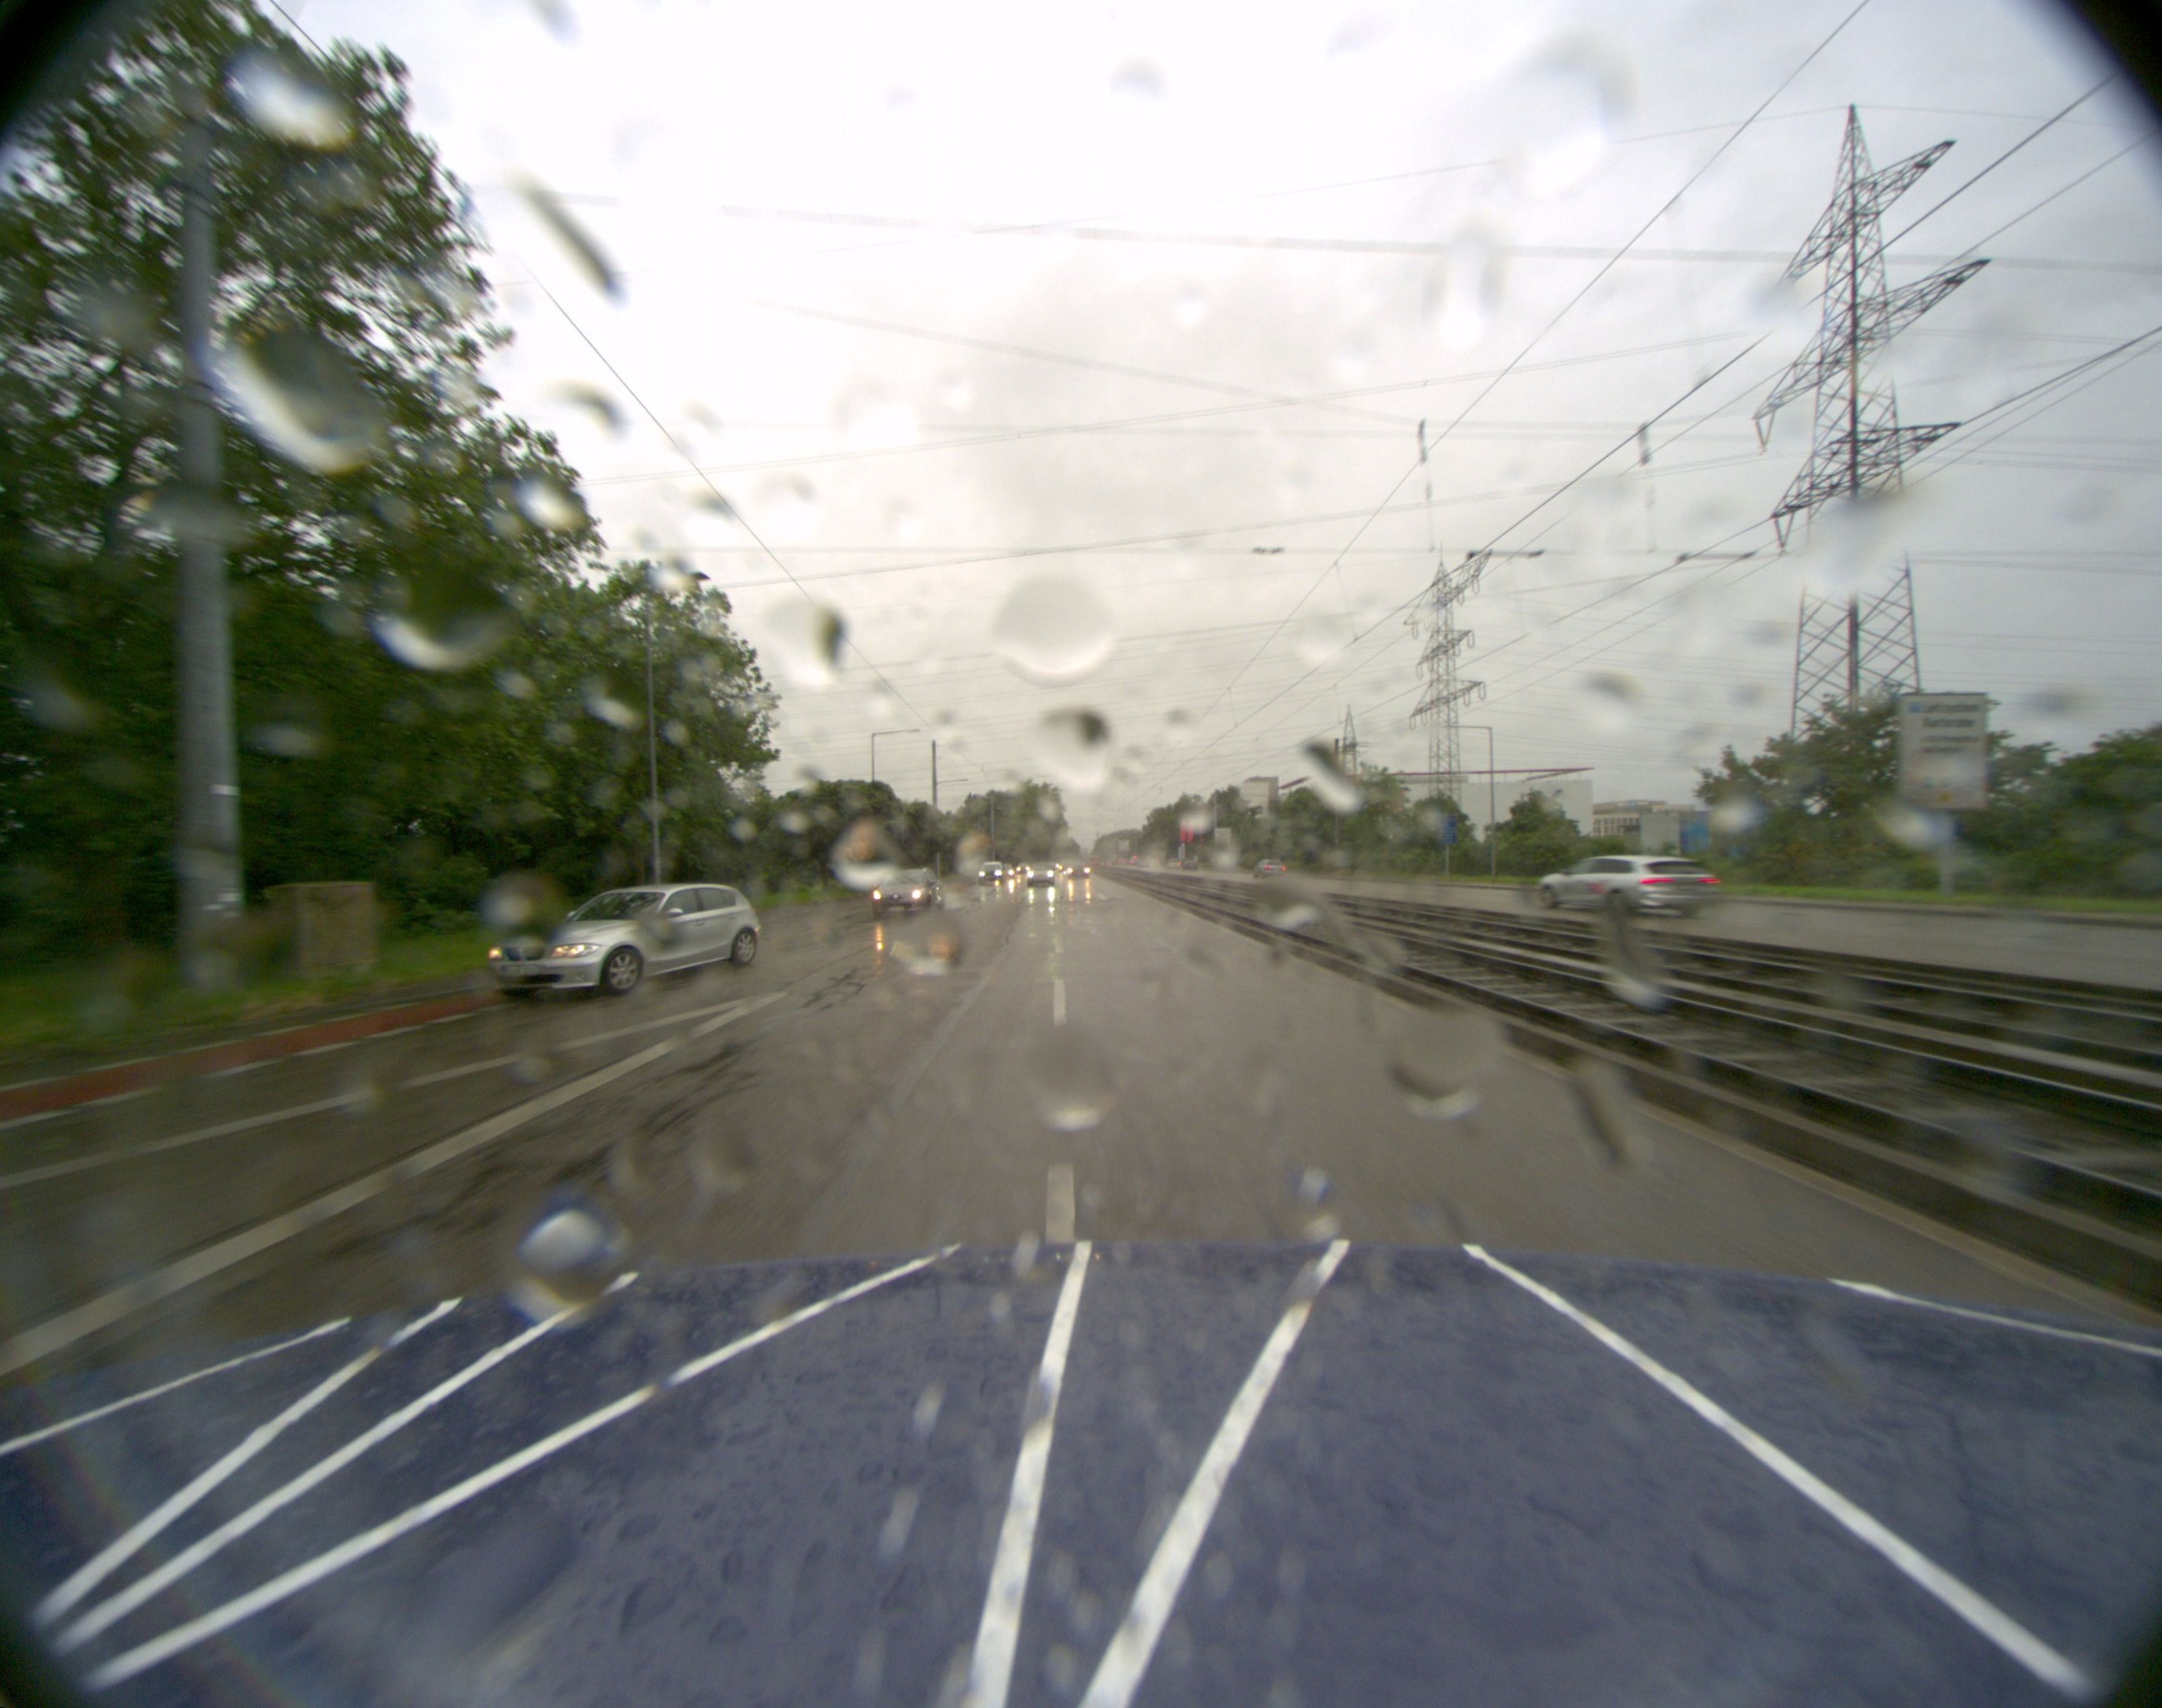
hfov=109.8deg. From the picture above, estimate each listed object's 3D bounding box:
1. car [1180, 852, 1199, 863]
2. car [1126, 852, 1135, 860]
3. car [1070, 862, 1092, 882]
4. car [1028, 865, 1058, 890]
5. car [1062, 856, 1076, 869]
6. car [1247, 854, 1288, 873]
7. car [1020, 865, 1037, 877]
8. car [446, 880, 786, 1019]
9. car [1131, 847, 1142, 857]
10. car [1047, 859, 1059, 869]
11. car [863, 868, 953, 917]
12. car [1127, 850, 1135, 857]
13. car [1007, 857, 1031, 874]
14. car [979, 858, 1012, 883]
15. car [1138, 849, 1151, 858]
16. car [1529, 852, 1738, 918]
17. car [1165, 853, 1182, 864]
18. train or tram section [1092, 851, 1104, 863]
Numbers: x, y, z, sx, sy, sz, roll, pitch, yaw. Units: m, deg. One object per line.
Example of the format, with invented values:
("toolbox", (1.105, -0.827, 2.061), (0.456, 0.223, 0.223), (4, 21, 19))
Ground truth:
("car", (14.573, 0.519, 102.533), (1.998, 1.455, 5.252), (1, -1, 2))
("car", (14.954, 0.628, 229.822), (2.095, 2.088, 4.730), (-3, -1, -2))
("car", (-0.003, 1.524, 65.376), (1.816, 1.692, 4.000), (-2, -1, 0))
("car", (-2.415, 1.487, 49.273), (1.808, 1.521, 3.645), (-3, -1, -2))
("car", (-1.580, 1.100, 101.283), (1.816, 1.692, 4.000), (-2, -1, 0))
("car", (14.480, 0.715, 59.331), (1.762, 1.354, 5.071), (-3, -1, -1))
("car", (-6.652, 2.118, 95.914), (1.784, 1.419, 4.000), (-2, -1, 0))
("car", (-6.513, 1.244, 11.411), (1.629, 1.494, 4.610), (-3, -1, 11))
("car", (14.509, -0.510, 199.946), (2.156, 2.284, 5.982), (2, -1, -2))
("car", (-4.465, 1.596, 123.392), (1.846, 1.572, 3.837), (-3, -1, -2))
("car", (-5.525, 1.192, 24.786), (1.892, 1.349, 4.277), (-3, -1, 0))
("car", (13.941, -0.159, 212.063), (1.901, 1.630, 4.730), (-3, -1, -2))
("car", (-5.716, 1.052, 70.340), (1.784, 1.419, 4.000), (-2, -1, 0))
("car", (-6.315, 1.188, 56.652), (1.797, 1.692, 4.763), (-3, -1, 0))
("car", (11.725, -0.058, 140.504), (1.830, 1.625, 5.136), (-3, -1, -2))
("car", (13.313, 0.693, 18.732), (1.746, 1.346, 4.545), (-3, -1, -1))
("car", (14.450, 0.680, 119.438), (1.847, 1.564, 5.066), (-3, -1, -2))
("train or tram section", (5.624, 1.153, 252.037), (2.893, 3.683, 19.527), (-3, -1, -2))
